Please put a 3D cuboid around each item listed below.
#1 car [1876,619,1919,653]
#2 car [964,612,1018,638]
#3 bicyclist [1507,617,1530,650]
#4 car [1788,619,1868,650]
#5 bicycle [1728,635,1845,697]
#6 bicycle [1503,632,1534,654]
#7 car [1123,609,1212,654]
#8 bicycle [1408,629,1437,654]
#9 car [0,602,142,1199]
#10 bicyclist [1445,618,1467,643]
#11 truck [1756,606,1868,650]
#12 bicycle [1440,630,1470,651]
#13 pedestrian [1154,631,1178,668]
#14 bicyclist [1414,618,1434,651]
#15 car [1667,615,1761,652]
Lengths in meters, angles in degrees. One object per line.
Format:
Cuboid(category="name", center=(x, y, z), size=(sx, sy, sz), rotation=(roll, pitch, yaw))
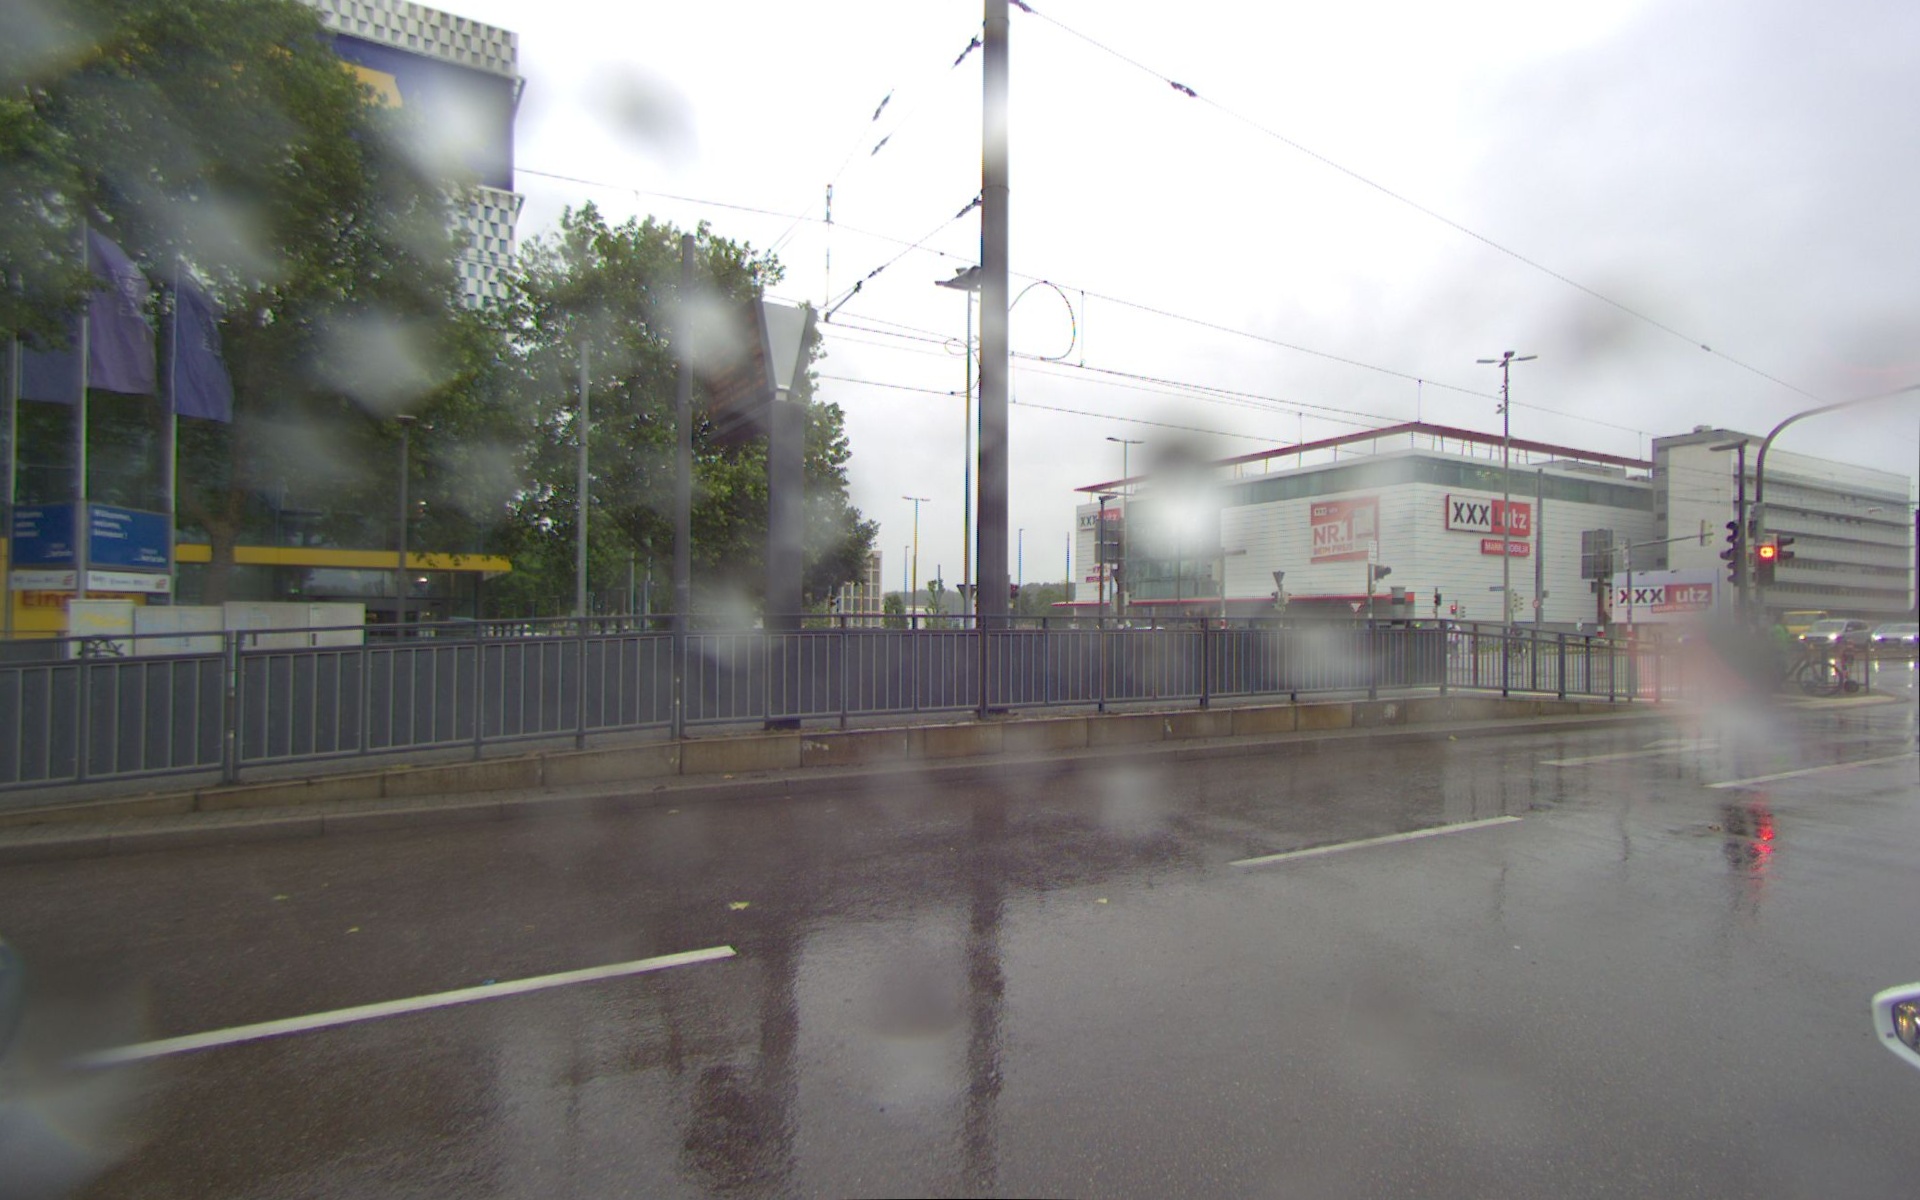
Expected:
Cuboid(category="car", center=(51.089, 1.939, 53.617), size=(3.947, 1.722, 1.886), rotation=(2, 0, -26))
Cuboid(category="car", center=(2.176, 1.711, 70.206), size=(3.723, 1.645, 2.001), rotation=(2, 0, 2))
Cuboid(category="bicyclist", center=(26.295, 1.579, 47.291), size=(0.639, 1.483, 0.681), rotation=(2, 0, -29))
Cuboid(category="car", center=(42.739, 1.696, 49.441), size=(3.780, 1.354, 1.582), rotation=(2, 0, -26))
Cuboid(category="bicycle", center=(16.783, 1.326, 20.436), size=(0.409, 1.048, 1.742), rotation=(2, 3, -31))
Cuboid(category="bicycle", center=(26.324, 2.027, 47.326), size=(1.688, 1.000, 0.448), rotation=(2, 0, -30))
Cuboid(category="car", center=(10.233, 1.545, 49.858), size=(1.976, 2.040, 4.295), rotation=(2, 0, -29))
Cuboid(category="bicycle", center=(20.627, 1.866, 44.777), size=(1.493, 1.075, 0.408), rotation=(2, 0, -33))
Cuboid(category="car", center=(-3.931, 0.677, 0.984), size=(4.591, 1.417, 1.753), rotation=(2, 0, -31))
Cuboid(category="bicyclist", center=(24.249, 1.485, 49.099), size=(0.639, 1.149, 0.681), rotation=(2, 0, -29))
Cuboid(category="truck", center=(47.884, 1.579, 56.389), size=(7.542, 2.309, 2.341), rotation=(2, 0, -30))
Cuboid(category="bicycle", center=(24.194, 1.992, 49.071), size=(1.688, 1.000, 0.448), rotation=(2, 0, -30))
Cuboid(category="pedestrian", center=(9.061, 2.178, 44.233), size=(0.863, 1.557, 0.560), rotation=(2, 0, -31))
Cuboid(category="bicyclist", center=(20.662, 1.538, 44.755), size=(0.643, 1.418, 0.529), rotation=(2, 0, -33))
Cuboid(category="car", center=(33.400, 1.468, 44.510), size=(3.823, 1.512, 1.693), rotation=(2, 0, -25))
